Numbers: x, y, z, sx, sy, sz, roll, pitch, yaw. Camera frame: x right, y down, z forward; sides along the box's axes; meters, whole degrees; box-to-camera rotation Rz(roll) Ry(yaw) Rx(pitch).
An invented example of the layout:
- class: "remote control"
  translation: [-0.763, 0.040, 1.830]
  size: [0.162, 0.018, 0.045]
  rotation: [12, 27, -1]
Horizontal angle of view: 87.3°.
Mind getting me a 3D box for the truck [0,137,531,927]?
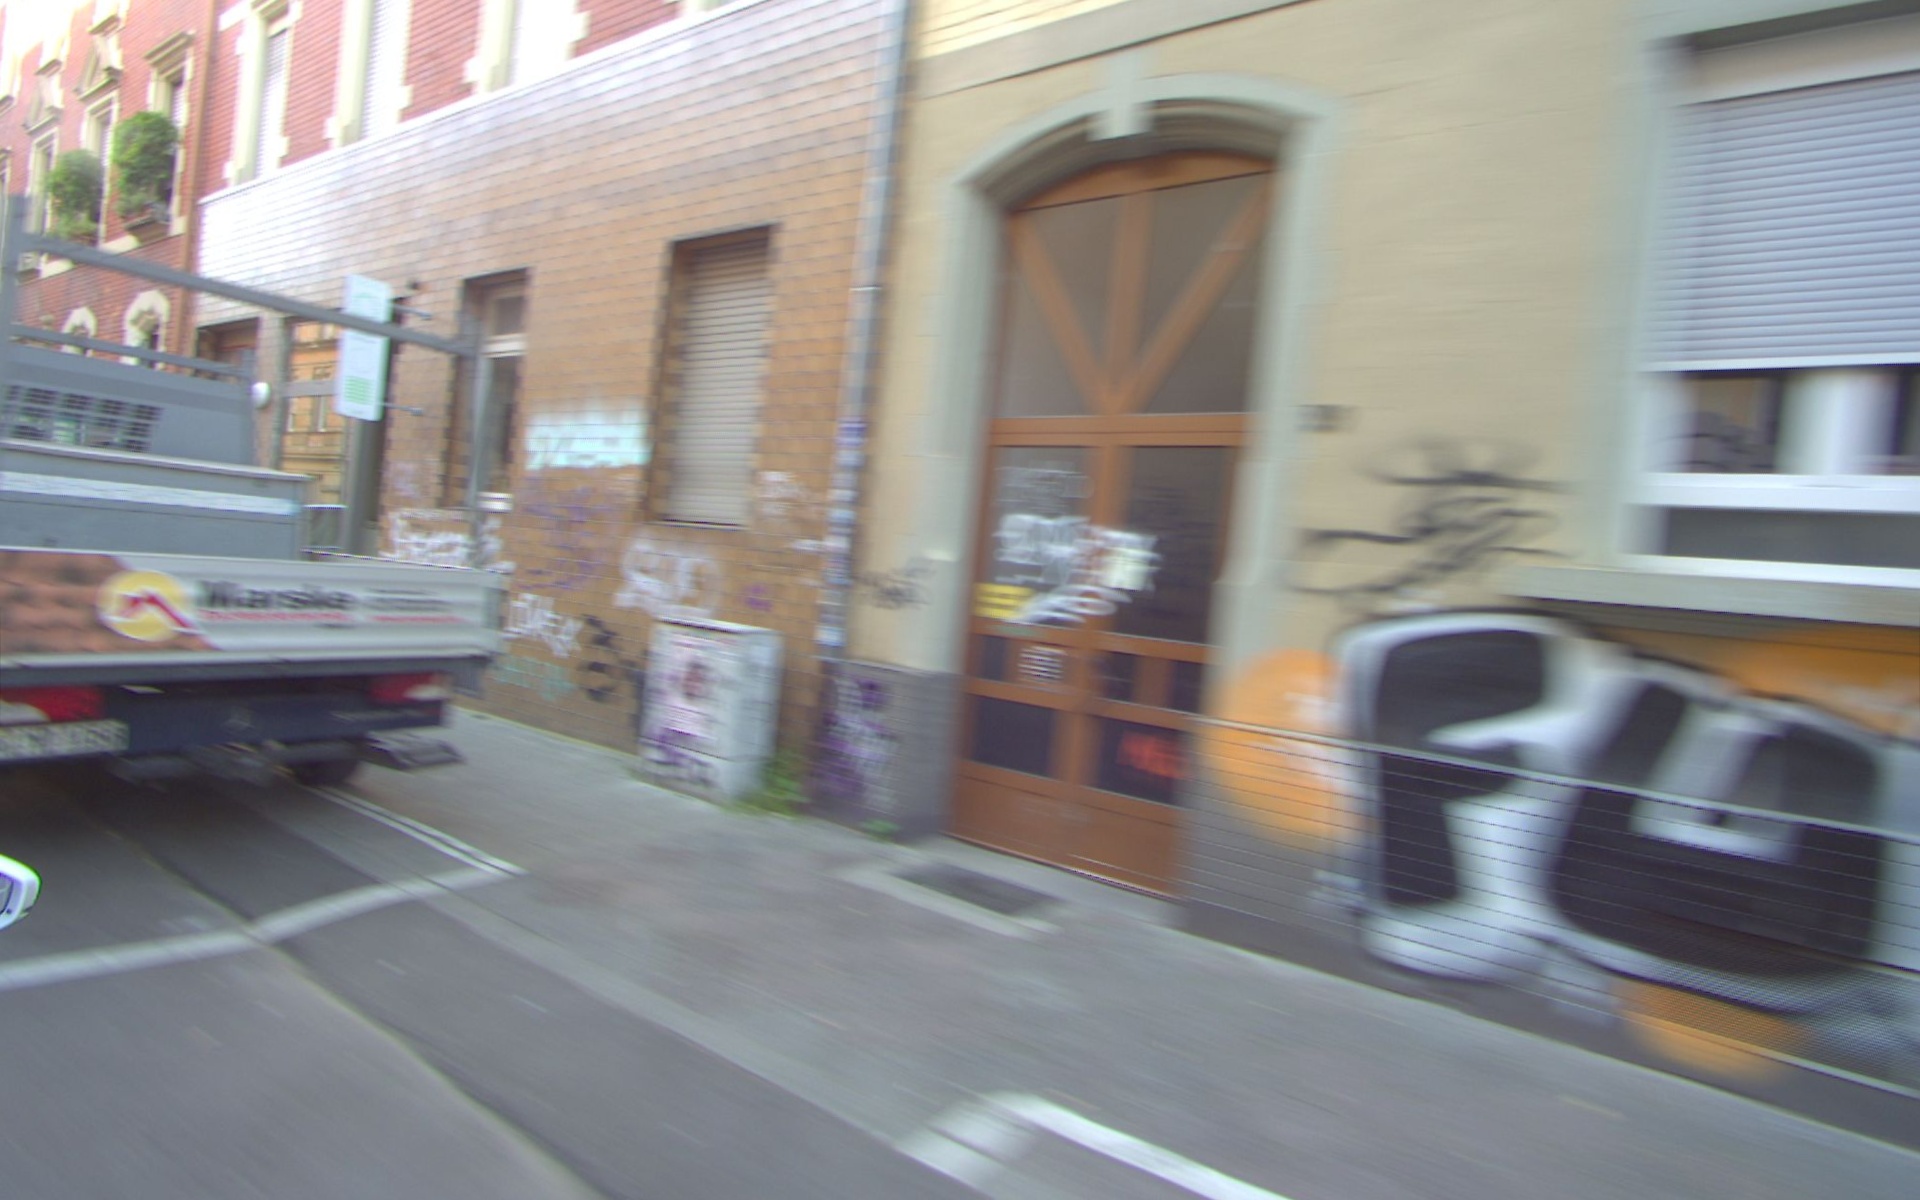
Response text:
- class: "truck"
  translation: [-5.359, -0.481, 5.859]
  size: [6.151, 2.695, 2.146]
  rotation: [6, 5, 33]
